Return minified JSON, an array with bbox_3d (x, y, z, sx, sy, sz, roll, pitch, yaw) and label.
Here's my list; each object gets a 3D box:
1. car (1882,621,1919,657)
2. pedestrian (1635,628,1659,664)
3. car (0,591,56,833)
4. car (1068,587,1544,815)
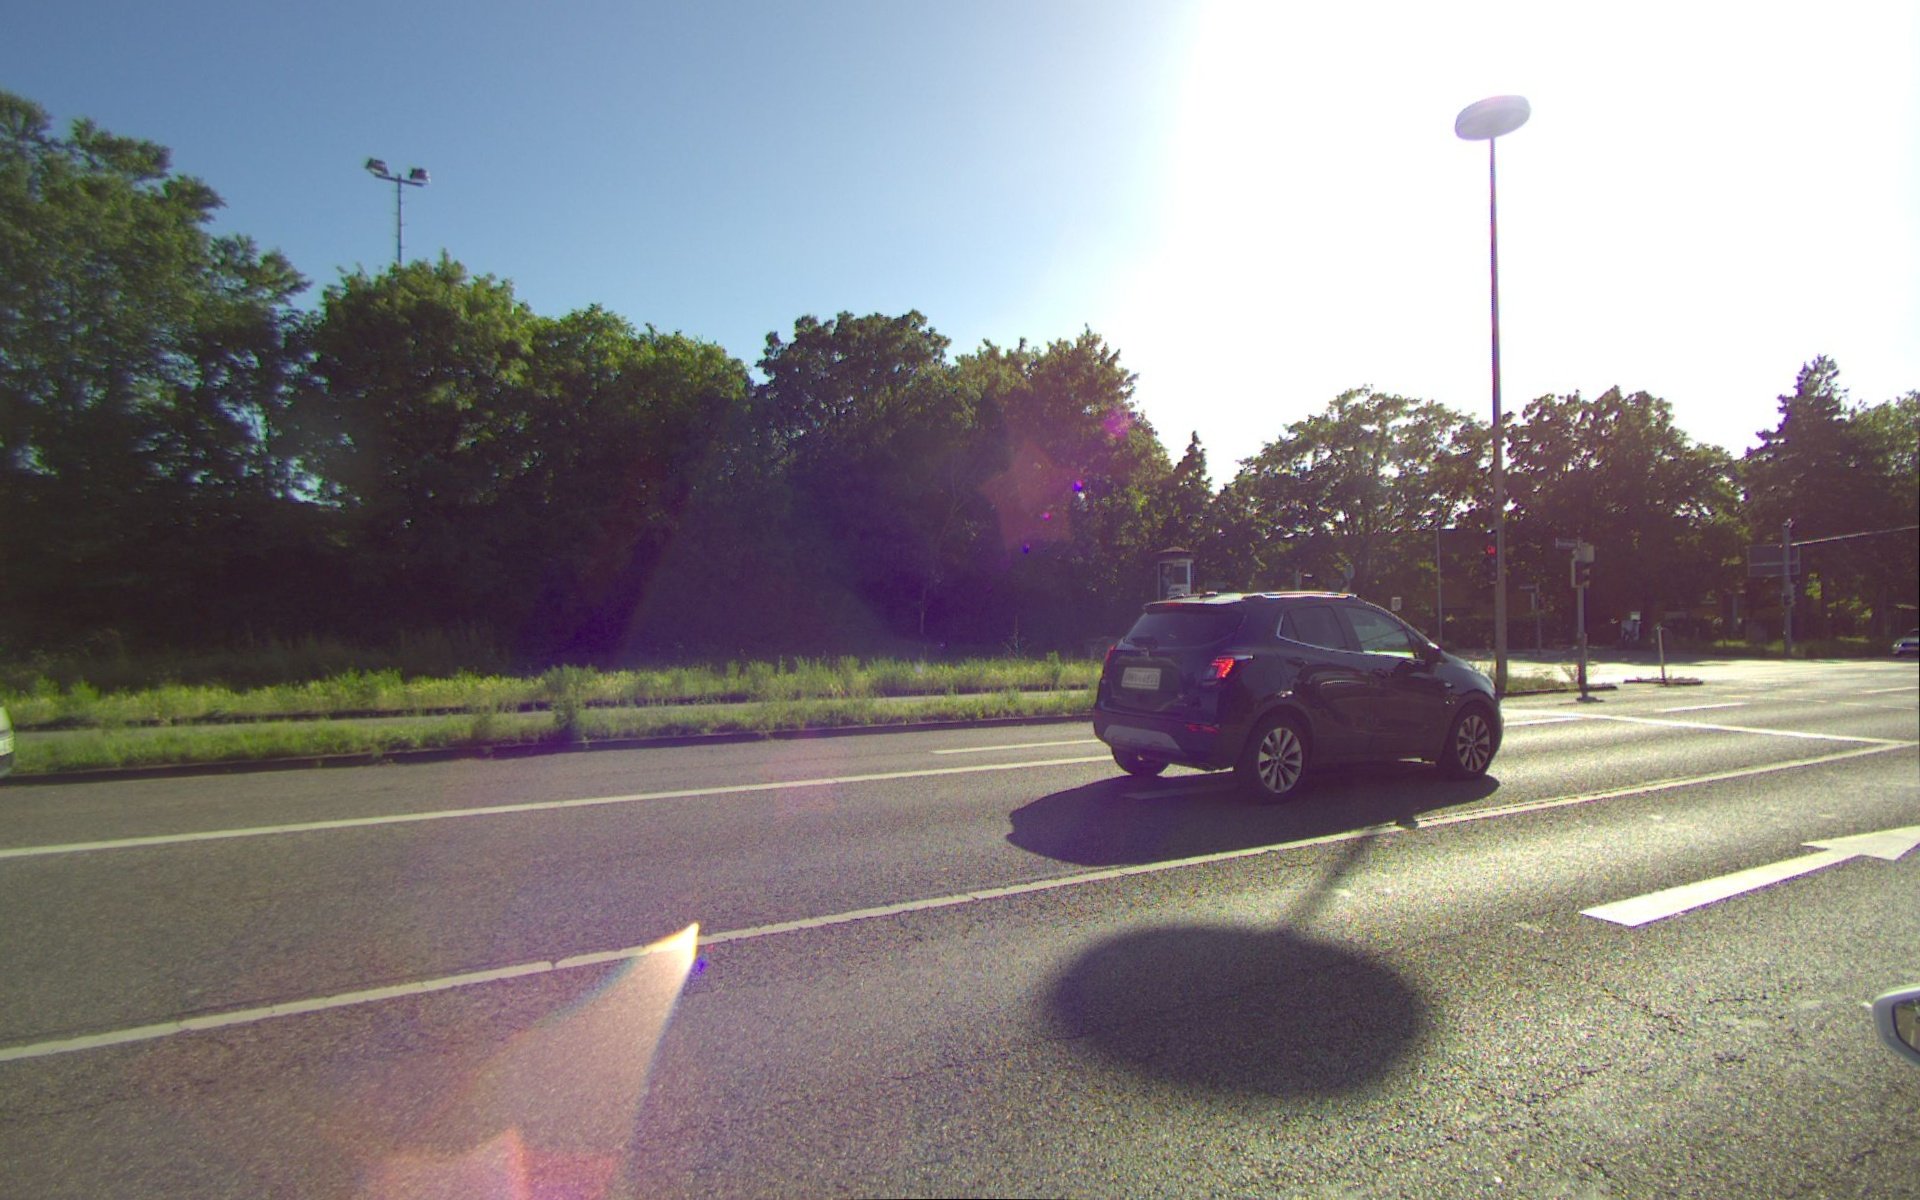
[{"bbox_3d":[48.653,1.976,50.767,4.210,1.706,1.855,1,0,-30],"label":"car"},{"bbox_3d":[36.185,2.405,52.899,0.542,1.859,0.843,0,-1,-26],"label":"pedestrian"},{"bbox_3d":[-8.367,0.726,6.019,4.058,1.631,1.776,1,-1,-31],"label":"car"},{"bbox_3d":[3.240,0.784,9.138,4.366,1.653,1.688,1,-1,-31],"label":"car"}]
